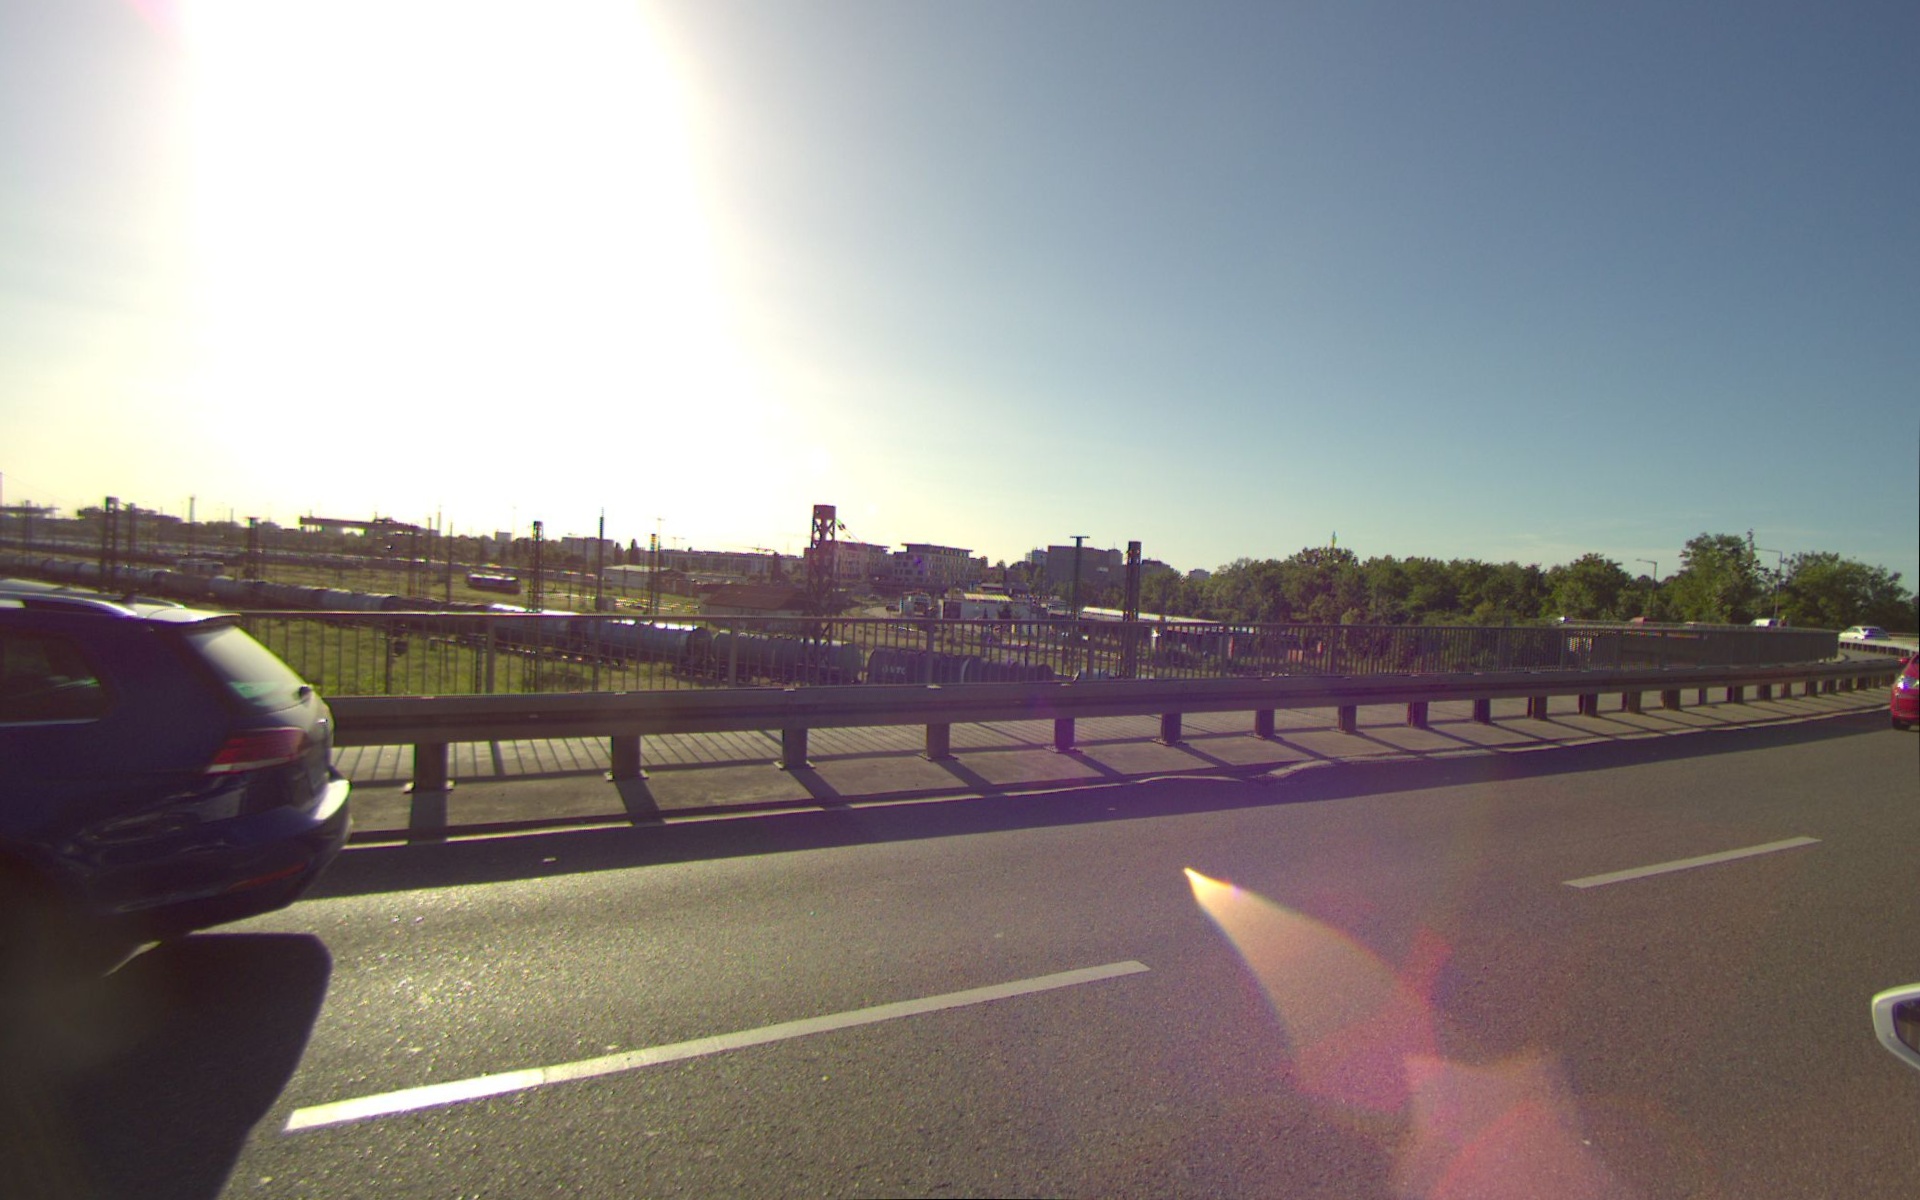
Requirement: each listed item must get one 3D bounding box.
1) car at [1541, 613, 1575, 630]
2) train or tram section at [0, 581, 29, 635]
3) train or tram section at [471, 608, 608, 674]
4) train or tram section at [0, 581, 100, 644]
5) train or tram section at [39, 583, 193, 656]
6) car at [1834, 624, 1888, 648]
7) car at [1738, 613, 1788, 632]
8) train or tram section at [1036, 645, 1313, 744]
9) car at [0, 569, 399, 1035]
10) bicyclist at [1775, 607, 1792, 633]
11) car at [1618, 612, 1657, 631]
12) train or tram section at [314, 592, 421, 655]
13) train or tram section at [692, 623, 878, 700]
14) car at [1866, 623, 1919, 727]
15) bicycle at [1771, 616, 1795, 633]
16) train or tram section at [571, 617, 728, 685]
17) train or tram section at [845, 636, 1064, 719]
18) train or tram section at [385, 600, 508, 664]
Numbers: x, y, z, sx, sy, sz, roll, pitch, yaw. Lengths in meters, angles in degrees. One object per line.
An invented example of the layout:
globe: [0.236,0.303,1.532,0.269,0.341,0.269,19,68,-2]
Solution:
car: [74.849,2.665,125.788,1.924,1.976,4.000,1,0,1]
train or tram section: [-99.591,0.599,101.295,17.559,5.154,4.039,1,0,32]
train or tram section: [-41.216,3.841,97.941,16.223,5.593,3.895,1,0,33]
train or tram section: [-84.606,0.985,91.760,17.873,5.154,4.039,1,0,32]
train or tram section: [-69.036,1.386,81.821,19.018,5.154,4.039,1,0,32]
car: [65.954,2.603,73.588,1.830,1.606,3.910,1,0,26]
car: [71.912,1.966,89.992,1.804,1.576,3.895,1,0,9]
train or tram section: [12.873,5.562,62.183,16.483,4.652,3.895,1,0,33]
car: [-4.471,0.624,3.468,4.352,1.506,1.717,1,0,-28]
bicyclist: [53.108,1.286,64.787,0.643,1.611,0.768,1,0,23]
car: [77.050,2.425,114.296,1.923,1.976,4.002,1,0,5]
train or tram section: [-68.653,2.550,116.066,16.223,6.699,3.895,1,0,33]
train or tram section: [-14.207,4.651,80.076,16.383,5.083,3.895,1,0,33]
car: [15.301,1.107,15.113,3.839,1.456,1.769,1,0,-37]
bicycle: [53.119,1.586,64.831,0.643,1.079,1.889,1,0,23]
train or tram section: [-27.738,4.301,89.052,16.088,5.083,3.895,1,0,33]
train or tram section: [-0.689,5.212,71.146,16.034,4.652,3.895,1,0,33]
train or tram section: [-54.909,3.248,106.999,16.671,6.090,3.895,1,0,33]
